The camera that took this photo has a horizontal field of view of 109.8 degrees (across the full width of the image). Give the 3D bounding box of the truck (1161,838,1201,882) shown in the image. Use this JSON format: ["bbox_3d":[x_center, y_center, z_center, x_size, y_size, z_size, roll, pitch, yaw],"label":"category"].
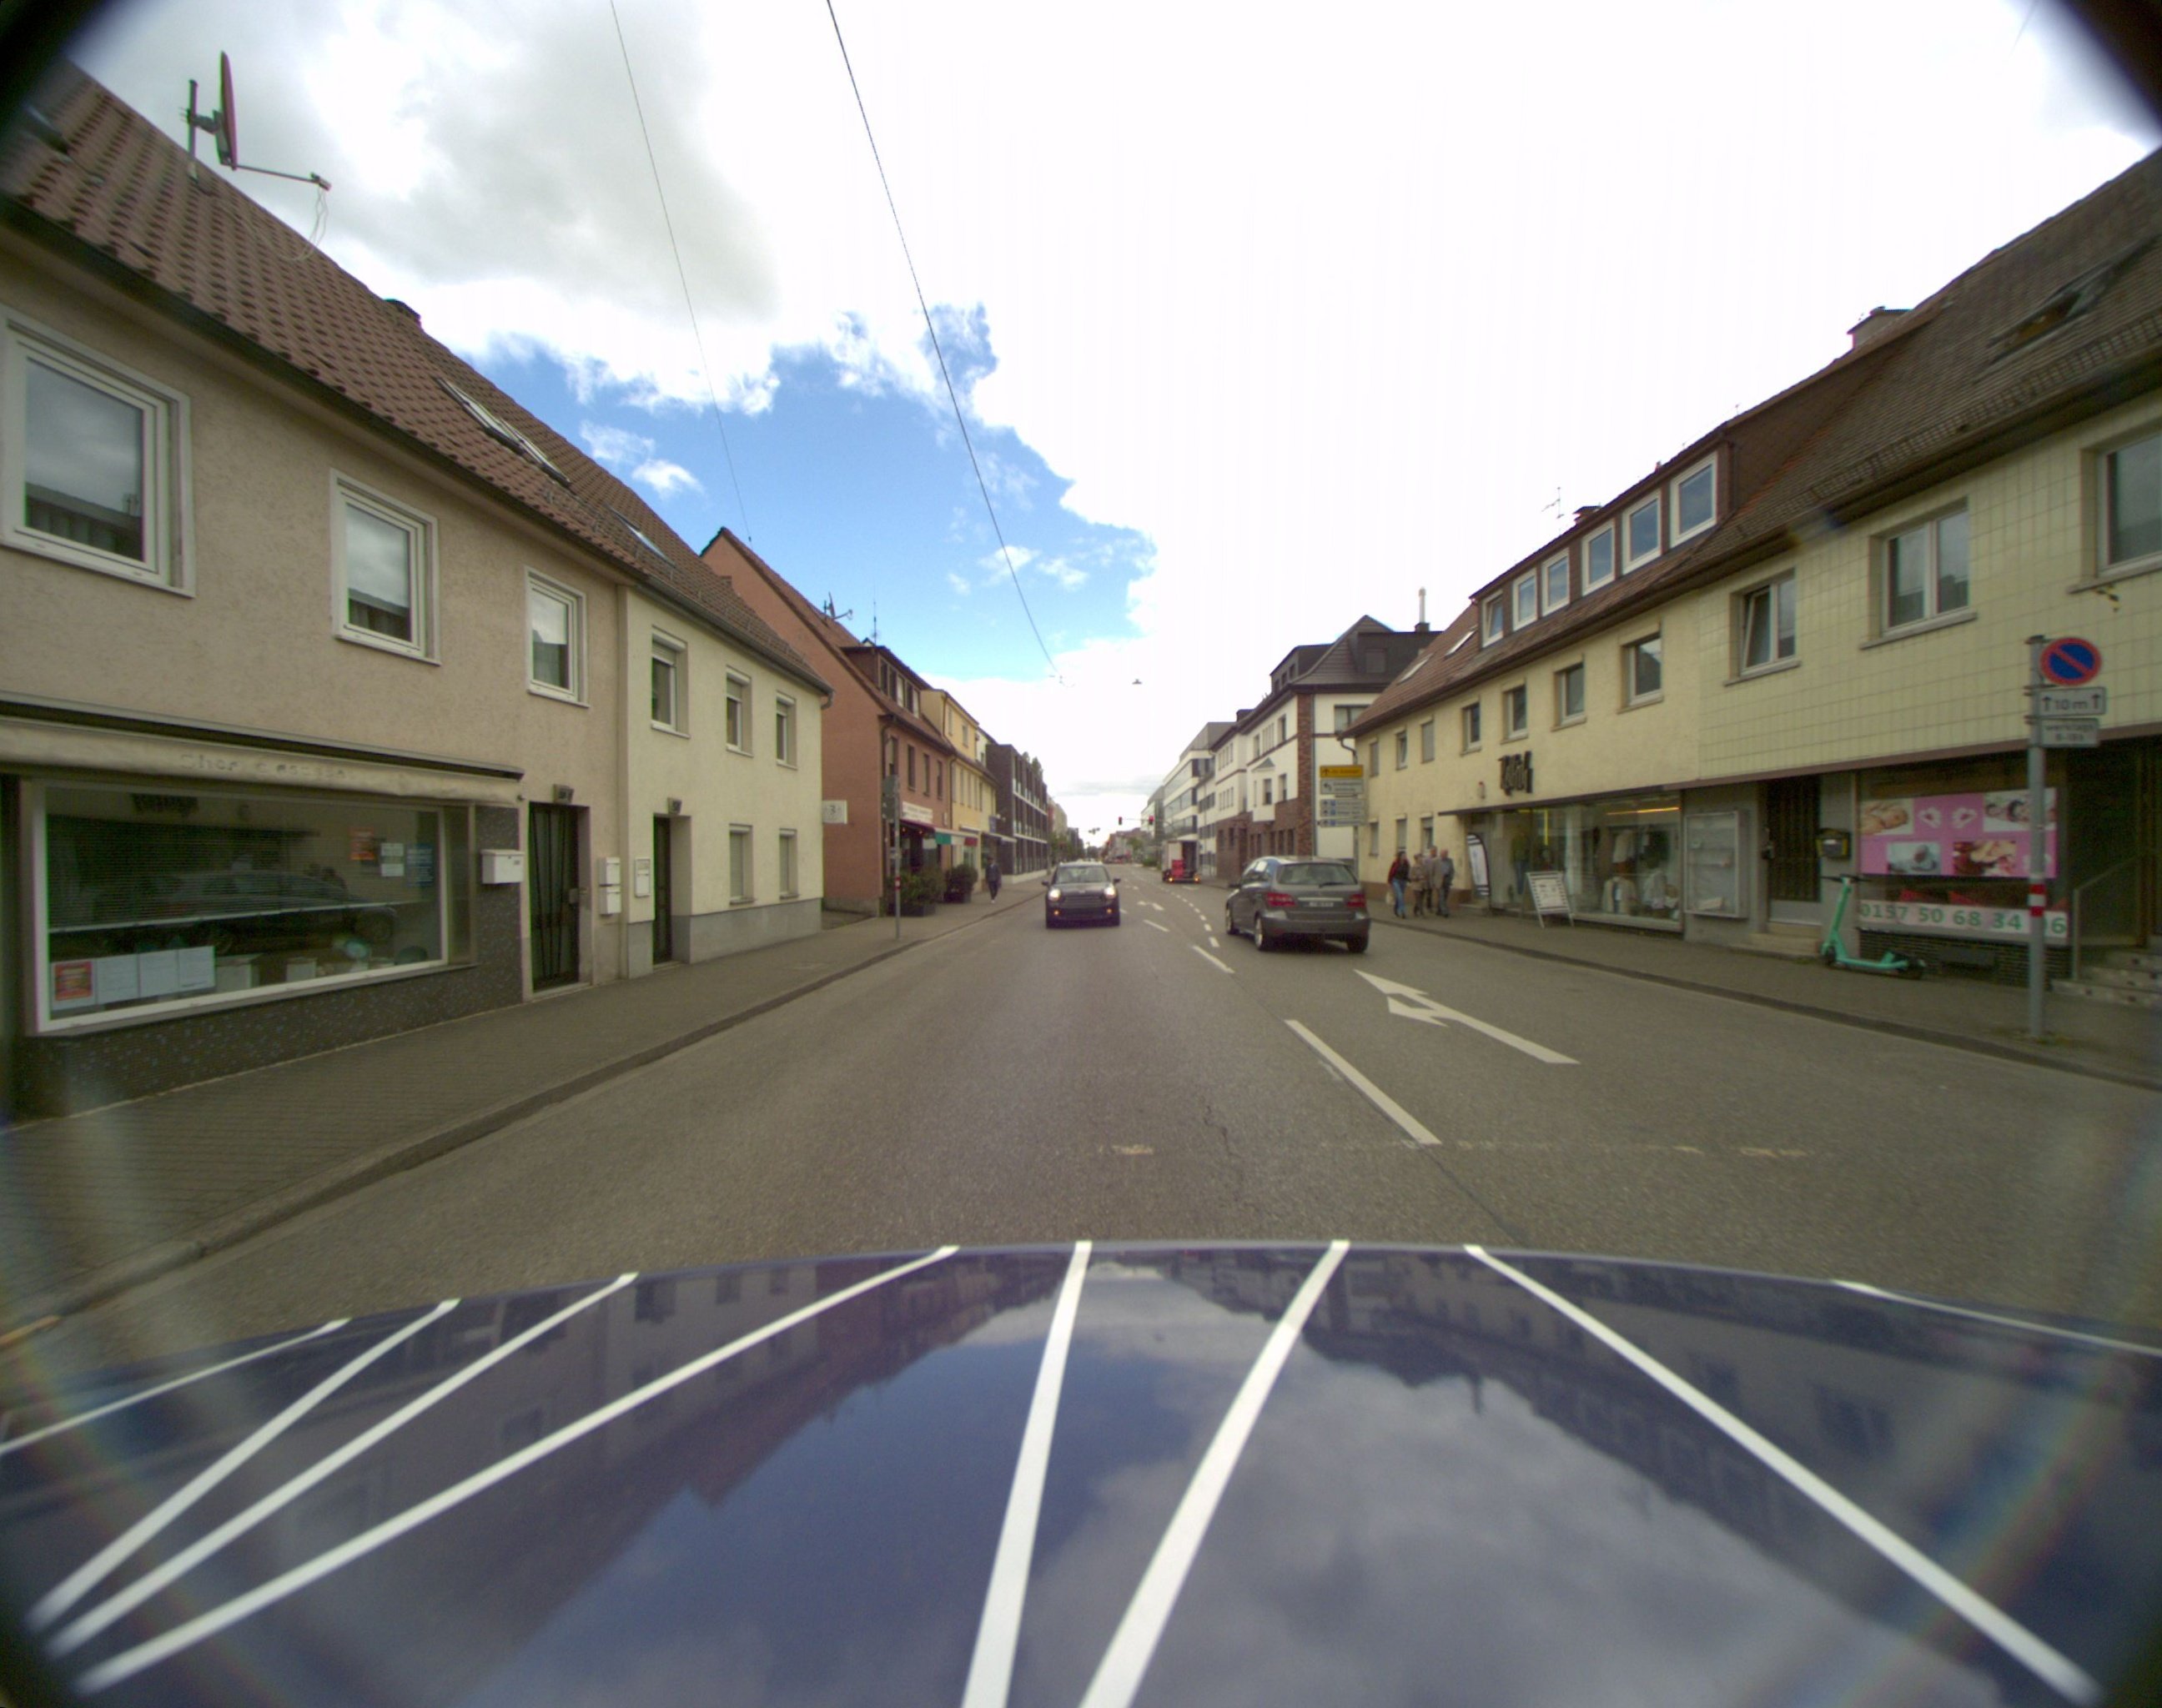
[{"bbox_3d":[7.111,0.402,54.641,2.467,2.953,5.966,-2,0,4],"label":"truck"}]

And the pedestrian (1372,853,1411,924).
[{"bbox_3d":[7.762,0.848,19.026,0.679,1.727,0.717,0,0,2],"label":"pedestrian"}]

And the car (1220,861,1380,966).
[{"bbox_3d":[3.777,0.942,13.845,1.784,1.543,4.075,1,0,1],"label":"car"}]

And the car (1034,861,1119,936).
[{"bbox_3d":[-0.026,1.019,19.424,1.847,1.570,4.429,-3,0,2],"label":"car"}]

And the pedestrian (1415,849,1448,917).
[{"bbox_3d":[9.070,0.741,19.684,0.555,1.727,0.648,0,0,2],"label":"pedestrian"}]

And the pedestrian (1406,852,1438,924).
[{"bbox_3d":[8.367,0.823,18.645,0.497,1.727,0.648,0,0,2],"label":"pedestrian"}]

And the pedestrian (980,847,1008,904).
[{"bbox_3d":[-3.241,0.776,28.386,0.826,2.062,1.011,2,1,2],"label":"pedestrian"}]

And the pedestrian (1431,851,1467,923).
[{"bbox_3d":[8.945,0.798,18.491,0.555,1.727,0.648,0,0,2],"label":"pedestrian"}]

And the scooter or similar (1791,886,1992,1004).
[{"bbox_3d":[9.368,1.003,8.888,0.529,1.163,1.722,-2,0,2],"label":"scooter or similar"}]
